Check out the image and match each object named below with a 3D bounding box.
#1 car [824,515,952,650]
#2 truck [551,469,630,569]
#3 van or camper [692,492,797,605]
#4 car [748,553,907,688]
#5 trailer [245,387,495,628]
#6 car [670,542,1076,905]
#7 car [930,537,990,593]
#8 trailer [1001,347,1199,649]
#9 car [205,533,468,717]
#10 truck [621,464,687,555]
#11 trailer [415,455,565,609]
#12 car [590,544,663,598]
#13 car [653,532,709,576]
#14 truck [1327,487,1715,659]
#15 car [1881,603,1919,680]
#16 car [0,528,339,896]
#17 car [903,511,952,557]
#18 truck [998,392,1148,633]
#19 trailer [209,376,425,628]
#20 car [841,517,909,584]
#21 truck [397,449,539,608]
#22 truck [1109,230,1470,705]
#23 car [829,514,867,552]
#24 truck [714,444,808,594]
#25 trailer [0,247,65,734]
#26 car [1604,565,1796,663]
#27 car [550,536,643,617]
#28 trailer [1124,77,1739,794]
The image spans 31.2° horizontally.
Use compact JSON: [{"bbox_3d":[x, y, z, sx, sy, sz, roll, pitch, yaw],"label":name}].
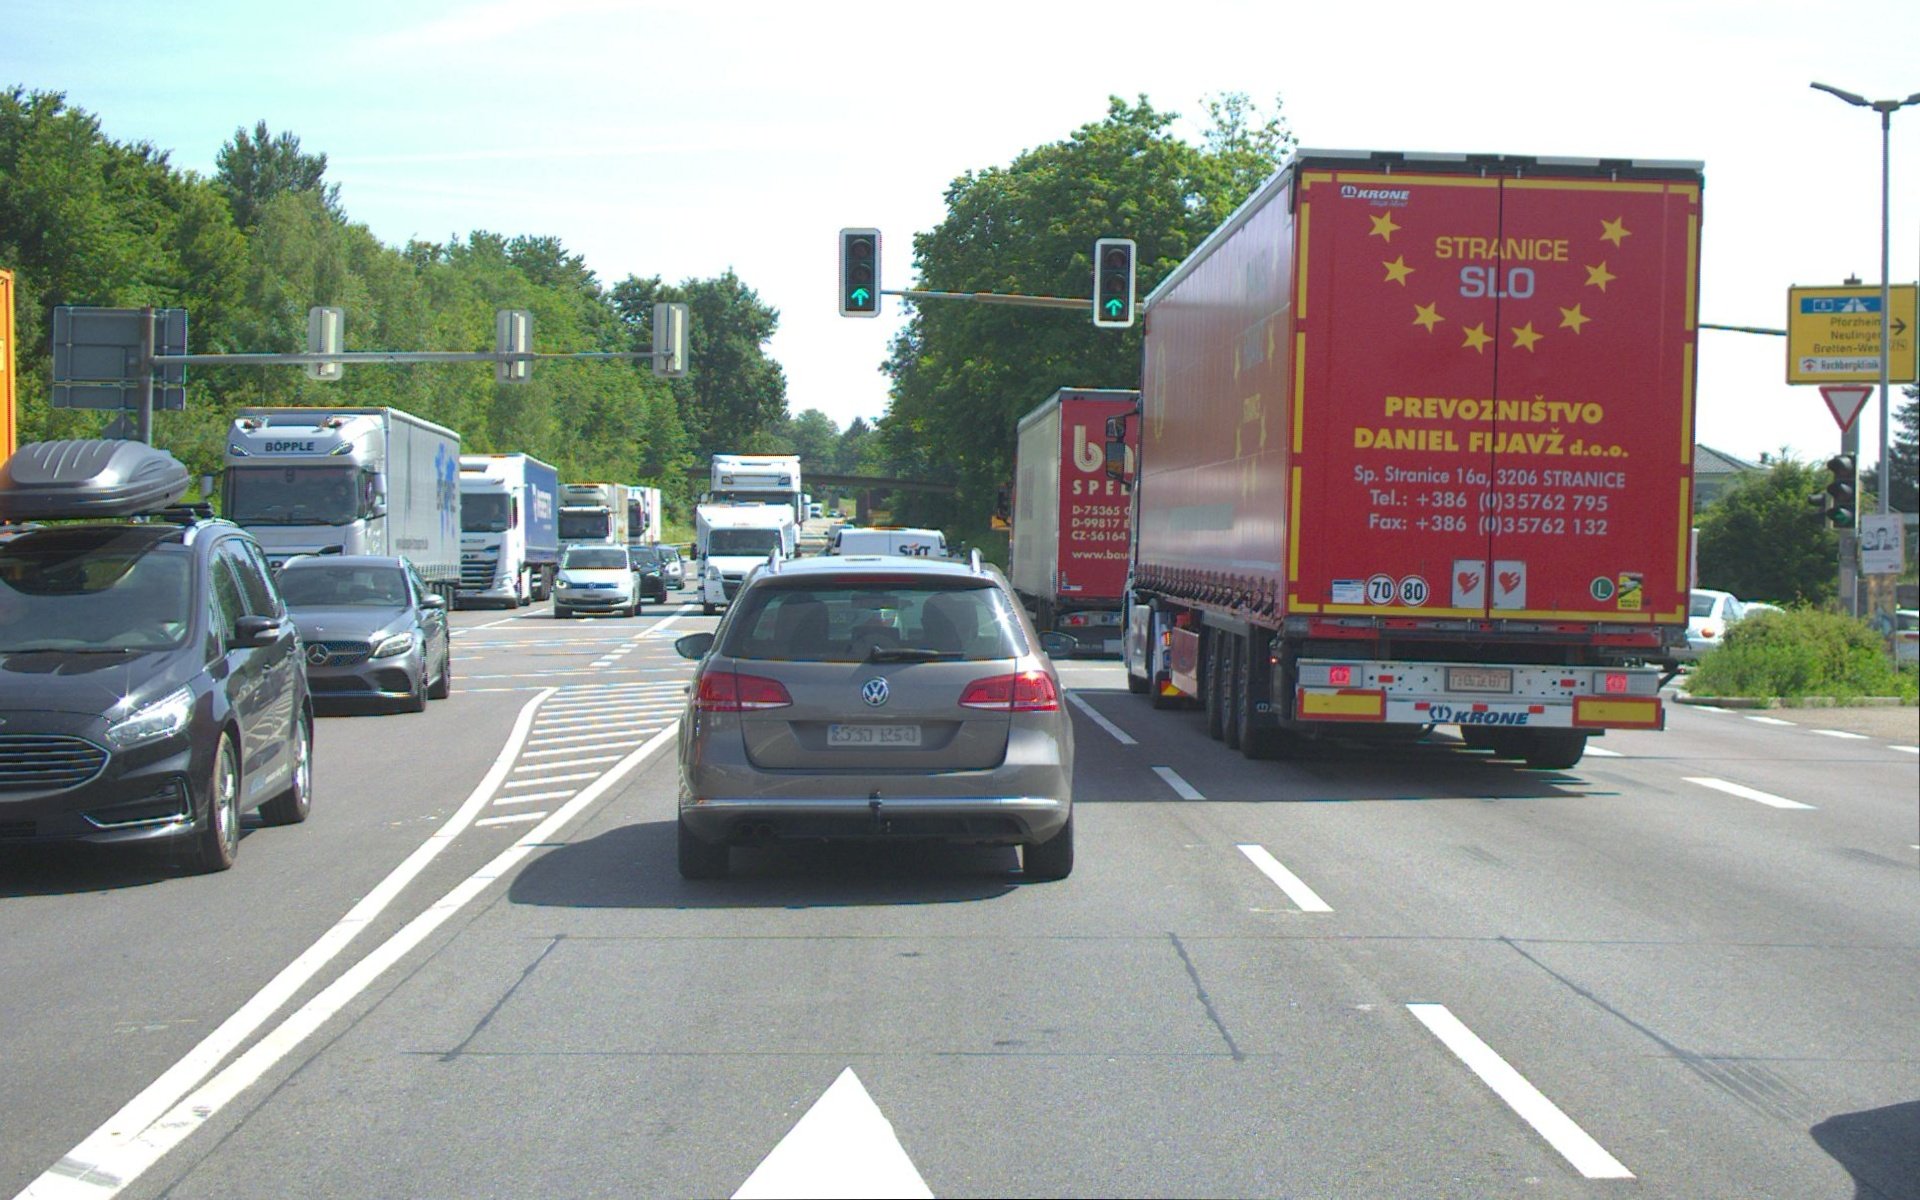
[{"bbox_3d":[-1.106,-0.276,51.199,1.770,1.930,3.978,0,1,-3],"label":"car"},{"bbox_3d":[-15.198,-3.285,141.844,2.728,3.985,9.621,0,1,-3],"label":"truck"},{"bbox_3d":[-5.113,-1.233,82.437,2.330,2.591,6.979,0,1,-2],"label":"van or camper"},{"bbox_3d":[-1.593,0.200,40.508,1.770,1.508,4.001,0,1,-3],"label":"car"},{"bbox_3d":[-11.046,-1.688,65.847,2.691,4.133,13.881,0,1,-1],"label":"trailer"},{"bbox_3d":[-0.470,0.482,16.310,1.691,1.508,4.001,0,1,-3],"label":"car"},{"bbox_3d":[-0.015,-1.294,124.975,1.993,2.007,4.001,0,1,-3],"label":"car"},{"bbox_3d":[2.041,-1.531,54.720,2.395,4.229,13.079,0,1,-1],"label":"trailer"},{"bbox_3d":[-5.970,0.181,33.391,1.921,1.596,4.589,-1,2,-3],"label":"car"},{"bbox_3d":[-14.305,-4.190,161.231,2.829,4.102,9.684,0,1,-3],"label":"truck"},{"bbox_3d":[-13.297,-1.918,98.343,3.093,4.066,14.129,0,1,-3],"label":"trailer"},{"bbox_3d":[-9.337,-0.822,96.445,1.993,1.480,4.455,0,1,-5],"label":"car"},{"bbox_3d":[-9.779,-1.620,120.894,1.725,1.497,4.000,0,1,-1],"label":"car"},{"bbox_3d":[14.788,-0.693,90.509,9.667,3.616,2.768,5,-1,-19],"label":"truck"},{"bbox_3d":[20.996,0.919,73.285,1.778,1.570,3.702,4,1,28],"label":"car"},{"bbox_3d":[-4.448,0.462,17.604,1.908,1.596,4.589,-1,2,-3],"label":"car"},{"bbox_3d":[-1.445,-2.913,152.727,1.993,2.007,4.001,0,1,-3],"label":"car"},{"bbox_3d":[1.959,-1.529,61.495,2.406,4.113,5.521,0,1,-1],"label":"truck"},{"bbox_3d":[-10.920,-1.636,58.905,2.645,4.091,6.181,0,1,-1],"label":"trailer"},{"bbox_3d":[-2.643,-1.528,106.151,1.993,2.007,4.001,0,1,-3],"label":"car"},{"bbox_3d":[-12.948,-1.874,90.981,3.187,4.066,6.347,0,1,-3],"label":"truck"},{"bbox_3d":[3.151,-1.261,34.523,2.870,4.266,5.839,2,1,0],"label":"truck"},{"bbox_3d":[-6.070,-3.597,185.790,1.993,2.007,4.001,0,1,-3],"label":"car"},{"bbox_3d":[-5.582,-2.244,96.179,2.536,4.074,6.267,0,1,-4],"label":"truck"},{"bbox_3d":[-8.956,-0.848,24.855,2.720,3.984,12.237,0,1,-5],"label":"trailer"},{"bbox_3d":[13.152,0.258,60.921,1.997,1.570,3.992,4,1,32],"label":"car"},{"bbox_3d":[-8.382,-0.572,79.516,1.843,1.726,4.589,2,1,-3],"label":"car"},{"bbox_3d":[3.242,-1.120,27.937,2.839,4.350,13.168,2,1,-1],"label":"trailer"}]
